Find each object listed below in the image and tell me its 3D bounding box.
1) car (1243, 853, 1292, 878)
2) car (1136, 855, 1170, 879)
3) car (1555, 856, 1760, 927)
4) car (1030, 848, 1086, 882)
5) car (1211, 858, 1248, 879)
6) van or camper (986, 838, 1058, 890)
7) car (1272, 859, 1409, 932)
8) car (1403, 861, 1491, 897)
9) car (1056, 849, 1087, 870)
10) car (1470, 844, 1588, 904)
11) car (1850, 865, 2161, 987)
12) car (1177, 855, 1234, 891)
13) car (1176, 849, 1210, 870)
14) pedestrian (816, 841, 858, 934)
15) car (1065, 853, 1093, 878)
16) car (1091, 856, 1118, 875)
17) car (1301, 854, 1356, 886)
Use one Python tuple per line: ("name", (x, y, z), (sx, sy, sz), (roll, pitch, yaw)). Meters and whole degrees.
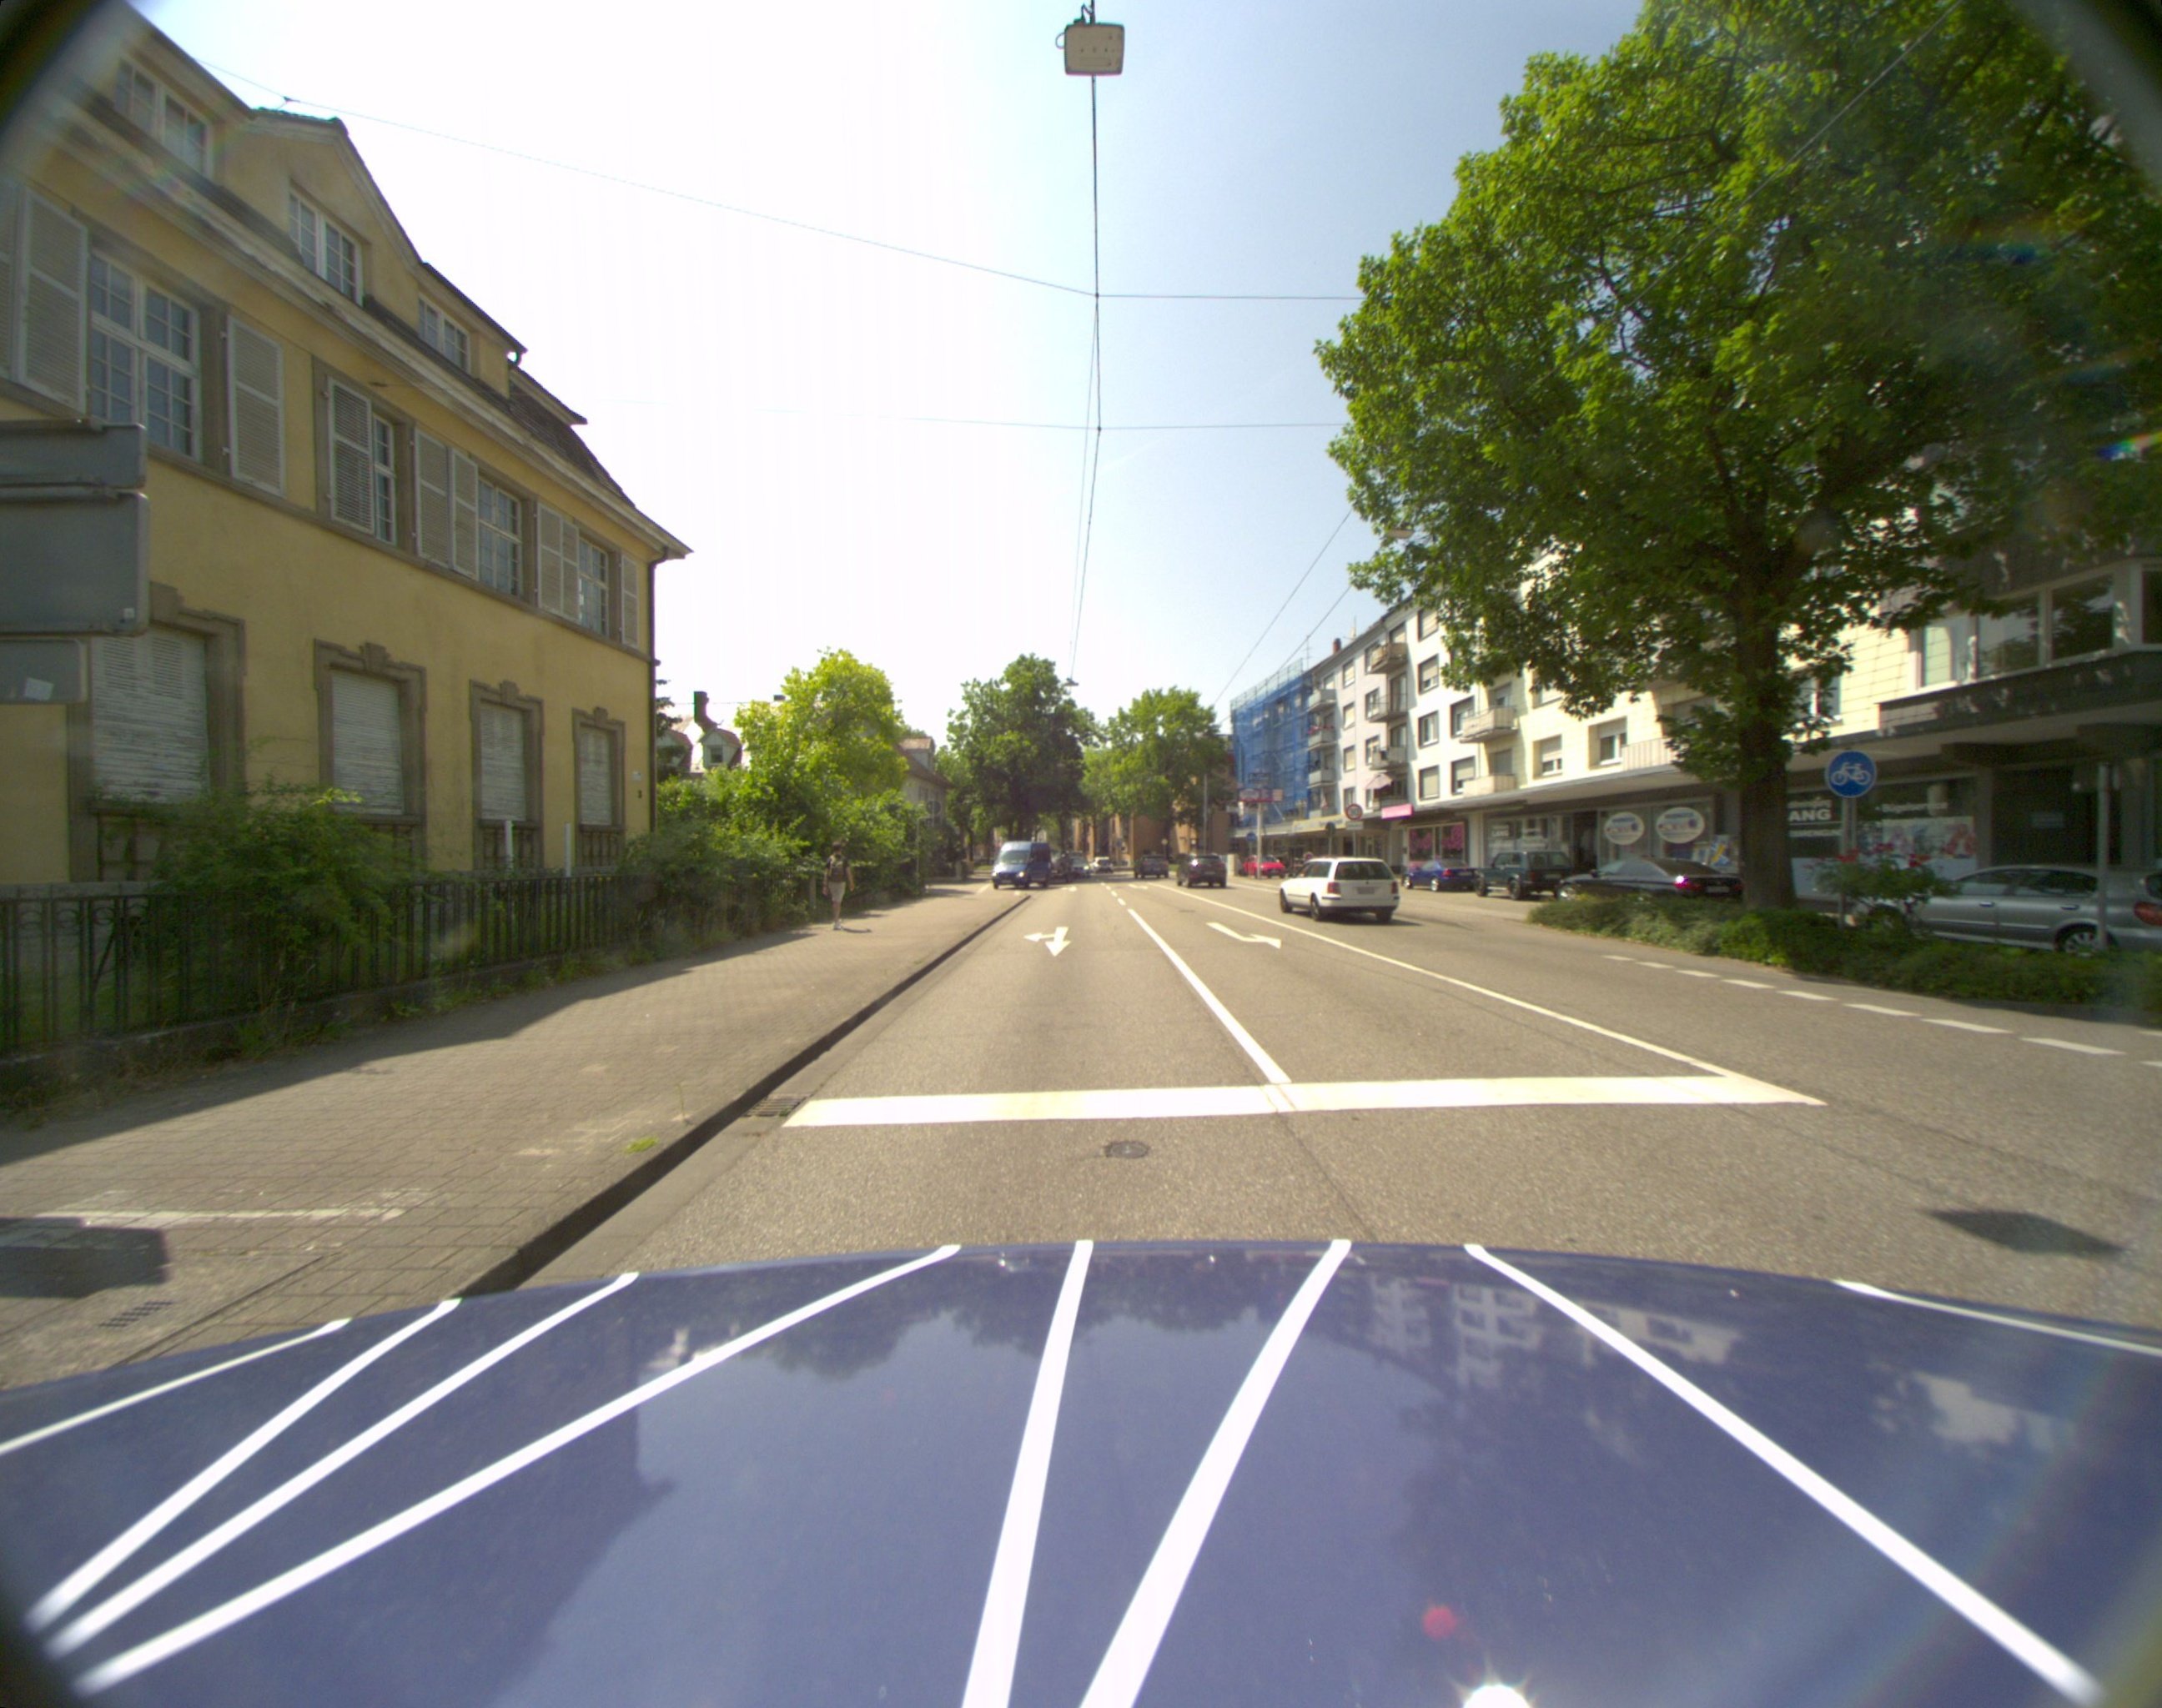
("car", (11.752, 0.679, 48.111), (1.913, 1.511, 4.333), (0, 0, -2))
("car", (4.954, 0.853, 52.558), (1.928, 1.598, 3.999), (0, 0, 0))
("car", (14.390, 0.842, 19.398), (1.626, 1.560, 4.839), (0, 0, 1))
("car", (-1.348, 0.636, 46.901), (1.996, 2.002, 4.601), (-1, 0, 18))
("car", (11.368, 1.074, 58.442), (1.913, 1.511, 4.333), (0, 0, -2))
("van or camper", (-3.032, 0.486, 40.765), (2.162, 2.567, 5.851), (1, 1, 13))
("car", (6.145, 0.910, 18.608), (1.820, 1.509, 4.631), (0, 0, 0))
("car", (14.731, 0.982, 30.792), (1.704, 1.279, 3.861), (-1, 0, 0))
("car", (-1.114, 0.607, 86.430), (2.323, 2.229, 4.756), (-3, 0, -14))
("car", (14.757, 0.627, 25.279), (1.643, 1.828, 3.860), (-1, 0, 0))
("car", (14.358, 0.932, 11.443), (1.586, 1.450, 3.940), (0, 0, 1))
("car", (6.039, 0.894, 37.378), (1.985, 1.629, 4.225), (0, 0, -2))
("car", (9.945, 0.510, 67.701), (1.914, 1.794, 4.331), (0, 0, -7))
("pedestrian", (-5.123, 0.684, 15.995), (0.621, 1.907, 0.744), (0, 1, 0))
("car", (-0.133, 0.842, 58.422), (1.998, 1.739, 4.445), (-2, 0, 0))
("car", (2.130, 1.017, 70.851), (1.707, 1.463, 3.553), (-3, 3, -11))
("car", (12.154, 0.763, 37.543), (1.639, 1.459, 3.634), (0, 0, 1))
